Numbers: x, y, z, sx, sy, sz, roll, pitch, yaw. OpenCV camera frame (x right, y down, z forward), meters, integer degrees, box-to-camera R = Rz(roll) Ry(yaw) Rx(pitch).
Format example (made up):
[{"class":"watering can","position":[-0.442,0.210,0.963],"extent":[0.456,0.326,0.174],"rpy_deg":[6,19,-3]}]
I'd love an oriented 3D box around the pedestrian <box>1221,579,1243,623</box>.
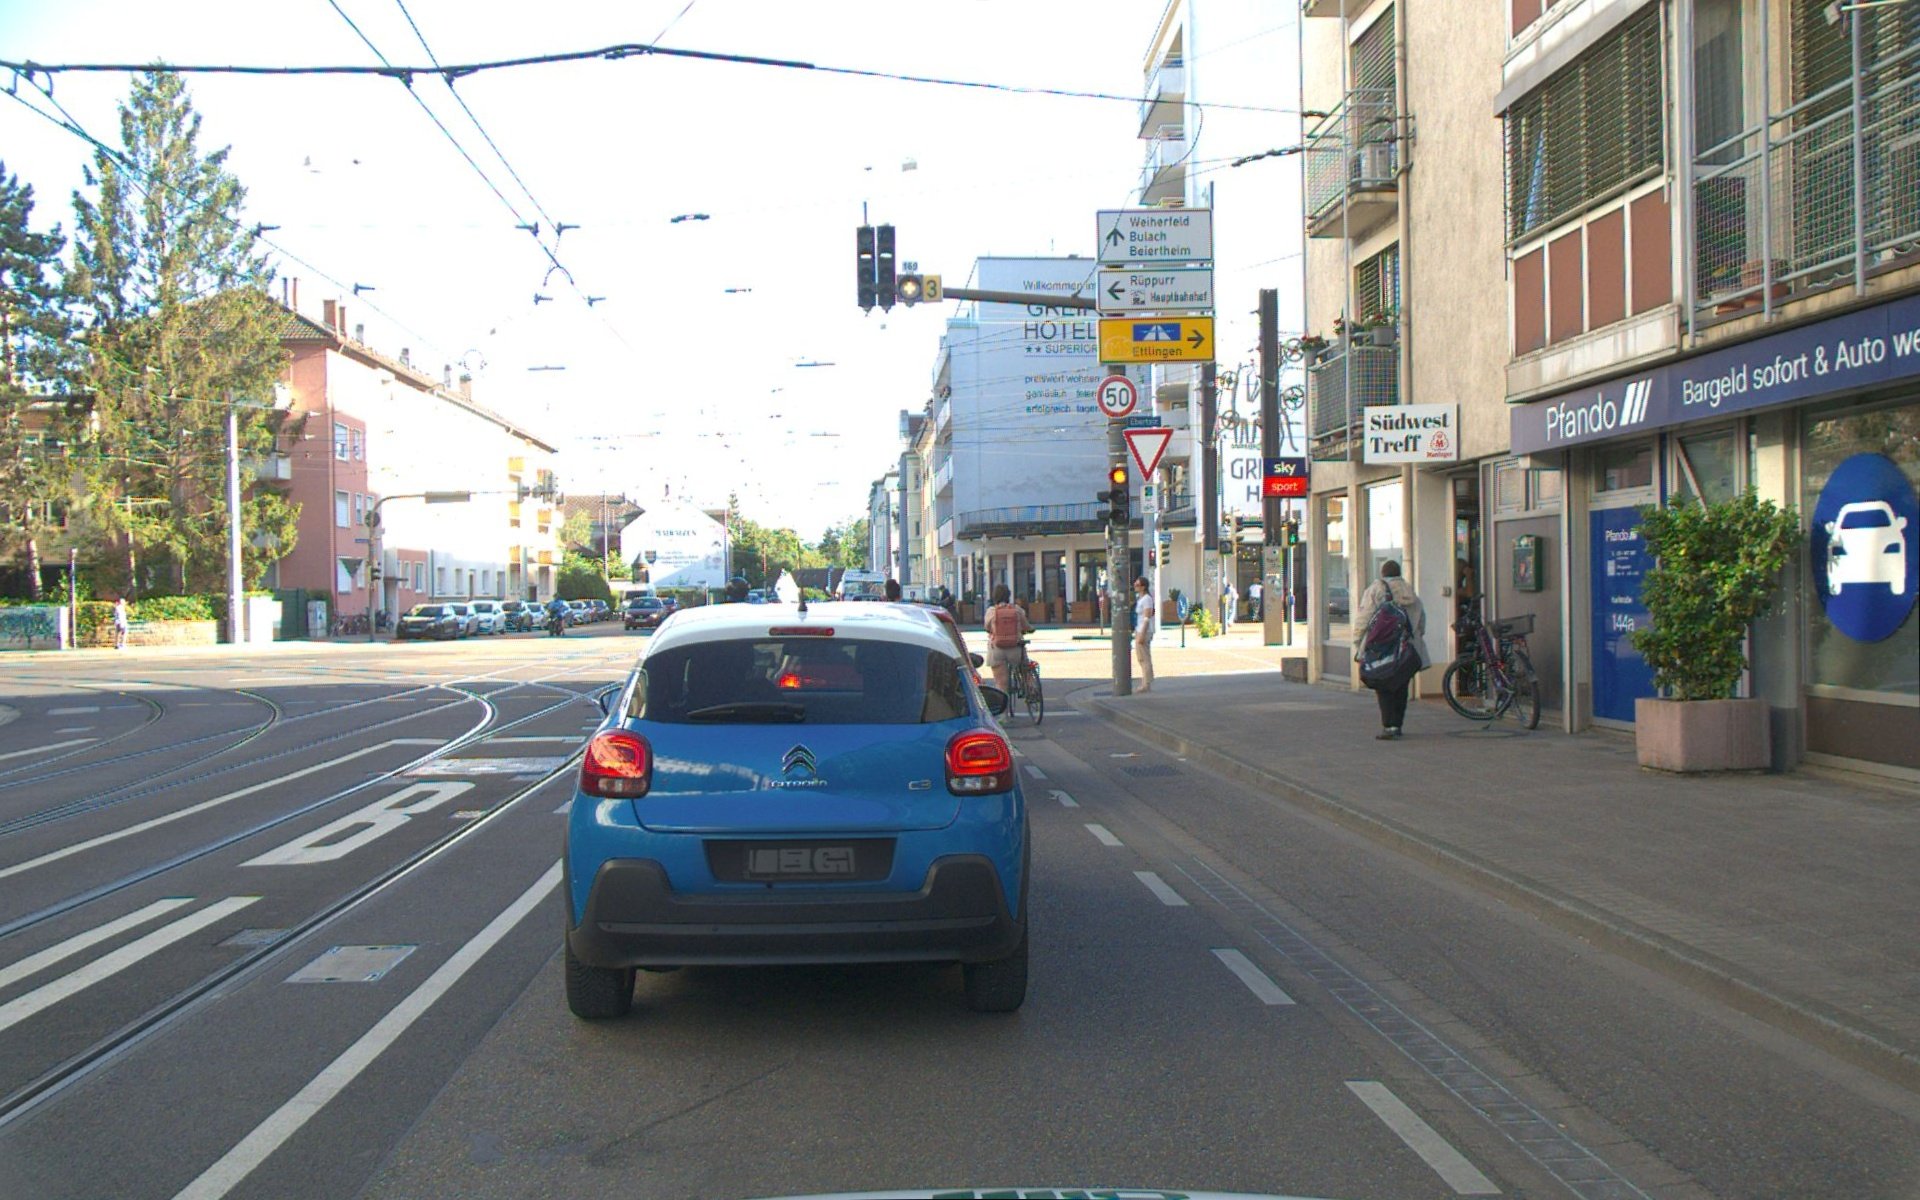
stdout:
[{"class":"pedestrian","position":[10.006,0.038,60.857],"extent":[0.598,1.636,0.668],"rpy_deg":[1,-1,27]}]

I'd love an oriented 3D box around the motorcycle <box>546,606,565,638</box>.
[{"class":"motorcycle","position":[-16.316,0.888,66.714],"extent":[0.700,1.241,1.958],"rpy_deg":[-1,-2,-14]}]

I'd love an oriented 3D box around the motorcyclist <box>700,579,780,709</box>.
[{"class":"motorcyclist","position":[-2.618,0.518,19.733],"extent":[0.837,1.514,0.729],"rpy_deg":[1,-1,-1]}]

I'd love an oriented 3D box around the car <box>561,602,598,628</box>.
[{"class":"car","position":[-24.645,0.939,107.217],"extent":[1.833,1.604,3.995],"rpy_deg":[1,0,-6]}]

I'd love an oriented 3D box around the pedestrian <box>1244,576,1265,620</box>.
[{"class":"pedestrian","position":[11.210,-0.075,62.965],"extent":[0.597,1.636,0.668],"rpy_deg":[1,-1,25]}]

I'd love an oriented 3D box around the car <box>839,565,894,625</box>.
[{"class":"car","position":[-4.141,-0.211,72.753],"extent":[2.221,2.525,5.002],"rpy_deg":[0,0,-5]}]

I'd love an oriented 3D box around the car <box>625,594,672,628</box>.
[{"class":"car","position":[-14.326,0.494,76.176],"extent":[1.744,1.512,3.824],"rpy_deg":[-1,0,-5]}]

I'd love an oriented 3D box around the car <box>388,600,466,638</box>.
[{"class":"car","position":[-22.095,0.817,68.702],"extent":[2.112,1.457,4.435],"rpy_deg":[1,-2,-5]}]

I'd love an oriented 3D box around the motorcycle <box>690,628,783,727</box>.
[{"class":"motorcycle","position":[-2.618,0.888,19.578],"extent":[0.837,1.065,1.942],"rpy_deg":[1,0,-1]}]

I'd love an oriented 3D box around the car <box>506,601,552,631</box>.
[{"class":"car","position":[-23.846,0.889,91.691],"extent":[1.833,1.604,3.995],"rpy_deg":[1,0,-6]}]

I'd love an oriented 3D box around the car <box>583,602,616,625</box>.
[{"class":"car","position":[-25.805,0.966,118.560],"extent":[1.833,1.604,3.995],"rpy_deg":[1,0,-6]}]

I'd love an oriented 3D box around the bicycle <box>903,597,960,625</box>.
[{"class":"bicycle","position":[-1.141,0.450,65.777],"extent":[2.208,1.019,0.855],"rpy_deg":[-2,0,-6]}]

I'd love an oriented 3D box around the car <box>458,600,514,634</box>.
[{"class":"car","position":[-22.617,0.813,79.026],"extent":[1.707,1.553,4.226],"rpy_deg":[1,0,-4]}]

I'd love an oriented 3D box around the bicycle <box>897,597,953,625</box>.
[{"class":"bicycle","position":[-1.430,0.441,67.140],"extent":[2.208,1.019,0.855],"rpy_deg":[-2,0,-6]}]

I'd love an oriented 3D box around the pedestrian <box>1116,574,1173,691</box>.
[{"class":"pedestrian","position":[2.700,0.468,24.161],"extent":[0.528,1.652,0.733],"rpy_deg":[-5,-2,21]}]

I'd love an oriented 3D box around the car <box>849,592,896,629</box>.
[{"class":"car","position":[-3.614,0.433,67.764],"extent":[1.626,1.456,3.882],"rpy_deg":[1,0,-7]}]

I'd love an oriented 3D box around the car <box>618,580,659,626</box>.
[{"class":"car","position":[-23.044,0.238,118.683],"extent":[2.370,3.197,3.486],"rpy_deg":[1,0,-4]}]

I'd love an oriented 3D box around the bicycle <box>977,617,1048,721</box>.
[{"class":"bicycle","position":[0.673,0.818,20.517],"extent":[0.794,1.202,2.065],"rpy_deg":[1,0,4]}]

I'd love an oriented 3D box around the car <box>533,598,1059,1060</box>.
[{"class":"car","position":[-0.453,0.735,7.157],"extent":[1.700,1.478,3.663],"rpy_deg":[0,0,2]}]

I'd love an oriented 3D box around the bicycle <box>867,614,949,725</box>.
[{"class":"bicycle","position":[-0.630,0.810,20.062],"extent":[0.921,1.245,2.094],"rpy_deg":[1,0,-2]}]

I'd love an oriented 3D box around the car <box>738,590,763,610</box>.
[{"class":"car","position":[-21.501,0.029,169.633],"extent":[2.174,1.965,4.945],"rpy_deg":[1,0,-4]}]

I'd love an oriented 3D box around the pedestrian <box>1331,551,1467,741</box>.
[{"class":"pedestrian","position":[3.961,0.395,14.962],"extent":[0.868,1.619,0.809],"rpy_deg":[-3,1,-9]}]

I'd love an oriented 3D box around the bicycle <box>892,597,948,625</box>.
[{"class":"bicycle","position":[-1.644,0.450,68.247],"extent":[2.208,1.019,0.855],"rpy_deg":[-2,0,-6]}]

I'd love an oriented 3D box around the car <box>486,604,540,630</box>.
[{"class":"car","position":[-23.138,0.869,85.723],"extent":[1.909,1.261,4.278],"rpy_deg":[1,0,-5]}]

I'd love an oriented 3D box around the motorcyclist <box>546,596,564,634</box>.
[{"class":"motorcyclist","position":[-16.352,0.609,66.830],"extent":[0.681,1.523,0.682],"rpy_deg":[-1,-2,-14]}]

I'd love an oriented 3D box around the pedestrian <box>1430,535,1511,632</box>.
[{"class":"pedestrian","position":[5.975,-0.198,19.366],"extent":[0.618,1.106,0.670],"rpy_deg":[-2,1,-38]}]

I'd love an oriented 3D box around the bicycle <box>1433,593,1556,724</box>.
[{"class":"bicycle","position":[5.097,0.536,15.870],"extent":[0.486,1.182,1.776],"rpy_deg":[-1,0,-4]}]

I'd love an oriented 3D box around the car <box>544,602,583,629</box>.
[{"class":"car","position":[-24.505,0.922,102.336],"extent":[1.833,1.604,3.995],"rpy_deg":[1,0,-6]}]

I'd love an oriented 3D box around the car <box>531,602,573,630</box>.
[{"class":"car","position":[-24.074,0.910,97.747],"extent":[1.833,1.604,3.995],"rpy_deg":[1,0,-6]}]

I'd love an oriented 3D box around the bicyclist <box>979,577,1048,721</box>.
[{"class":"bicyclist","position":[0.664,0.587,20.362],"extent":[0.794,1.721,0.935],"rpy_deg":[1,0,4]}]

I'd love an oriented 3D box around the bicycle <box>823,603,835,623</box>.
[{"class":"bicycle","position":[-11.130,1.120,140.313],"extent":[0.774,1.699,2.230],"rpy_deg":[1,0,1]}]

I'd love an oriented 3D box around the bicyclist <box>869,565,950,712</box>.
[{"class":"bicyclist","position":[-0.605,0.454,19.929],"extent":[0.921,1.702,1.079],"rpy_deg":[1,0,-2]}]

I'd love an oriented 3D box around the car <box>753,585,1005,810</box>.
[{"class":"car","position":[-0.739,0.677,13.502],"extent":[1.750,1.548,3.758],"rpy_deg":[1,1,-5]}]

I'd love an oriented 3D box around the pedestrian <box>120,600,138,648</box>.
[{"class":"pedestrian","position":[-28.051,0.806,55.816],"extent":[0.510,1.596,0.568],"rpy_deg":[1,-1,-28]}]

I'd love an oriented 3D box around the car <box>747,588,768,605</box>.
[{"class":"car","position":[-22.909,-0.394,187.478],"extent":[2.033,1.793,5.032],"rpy_deg":[1,0,-4]}]

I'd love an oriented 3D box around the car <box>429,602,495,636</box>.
[{"class":"car","position":[-22.352,0.824,74.377],"extent":[1.865,1.462,4.100],"rpy_deg":[1,0,-3]}]

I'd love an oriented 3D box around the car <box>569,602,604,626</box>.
[{"class":"car","position":[-25.312,0.949,112.254],"extent":[1.833,1.604,3.995],"rpy_deg":[1,0,-6]}]

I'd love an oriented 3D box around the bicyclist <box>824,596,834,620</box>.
[{"class":"bicyclist","position":[-11.124,0.684,140.319],"extent":[0.774,2.060,0.986],"rpy_deg":[1,-1,0]}]
